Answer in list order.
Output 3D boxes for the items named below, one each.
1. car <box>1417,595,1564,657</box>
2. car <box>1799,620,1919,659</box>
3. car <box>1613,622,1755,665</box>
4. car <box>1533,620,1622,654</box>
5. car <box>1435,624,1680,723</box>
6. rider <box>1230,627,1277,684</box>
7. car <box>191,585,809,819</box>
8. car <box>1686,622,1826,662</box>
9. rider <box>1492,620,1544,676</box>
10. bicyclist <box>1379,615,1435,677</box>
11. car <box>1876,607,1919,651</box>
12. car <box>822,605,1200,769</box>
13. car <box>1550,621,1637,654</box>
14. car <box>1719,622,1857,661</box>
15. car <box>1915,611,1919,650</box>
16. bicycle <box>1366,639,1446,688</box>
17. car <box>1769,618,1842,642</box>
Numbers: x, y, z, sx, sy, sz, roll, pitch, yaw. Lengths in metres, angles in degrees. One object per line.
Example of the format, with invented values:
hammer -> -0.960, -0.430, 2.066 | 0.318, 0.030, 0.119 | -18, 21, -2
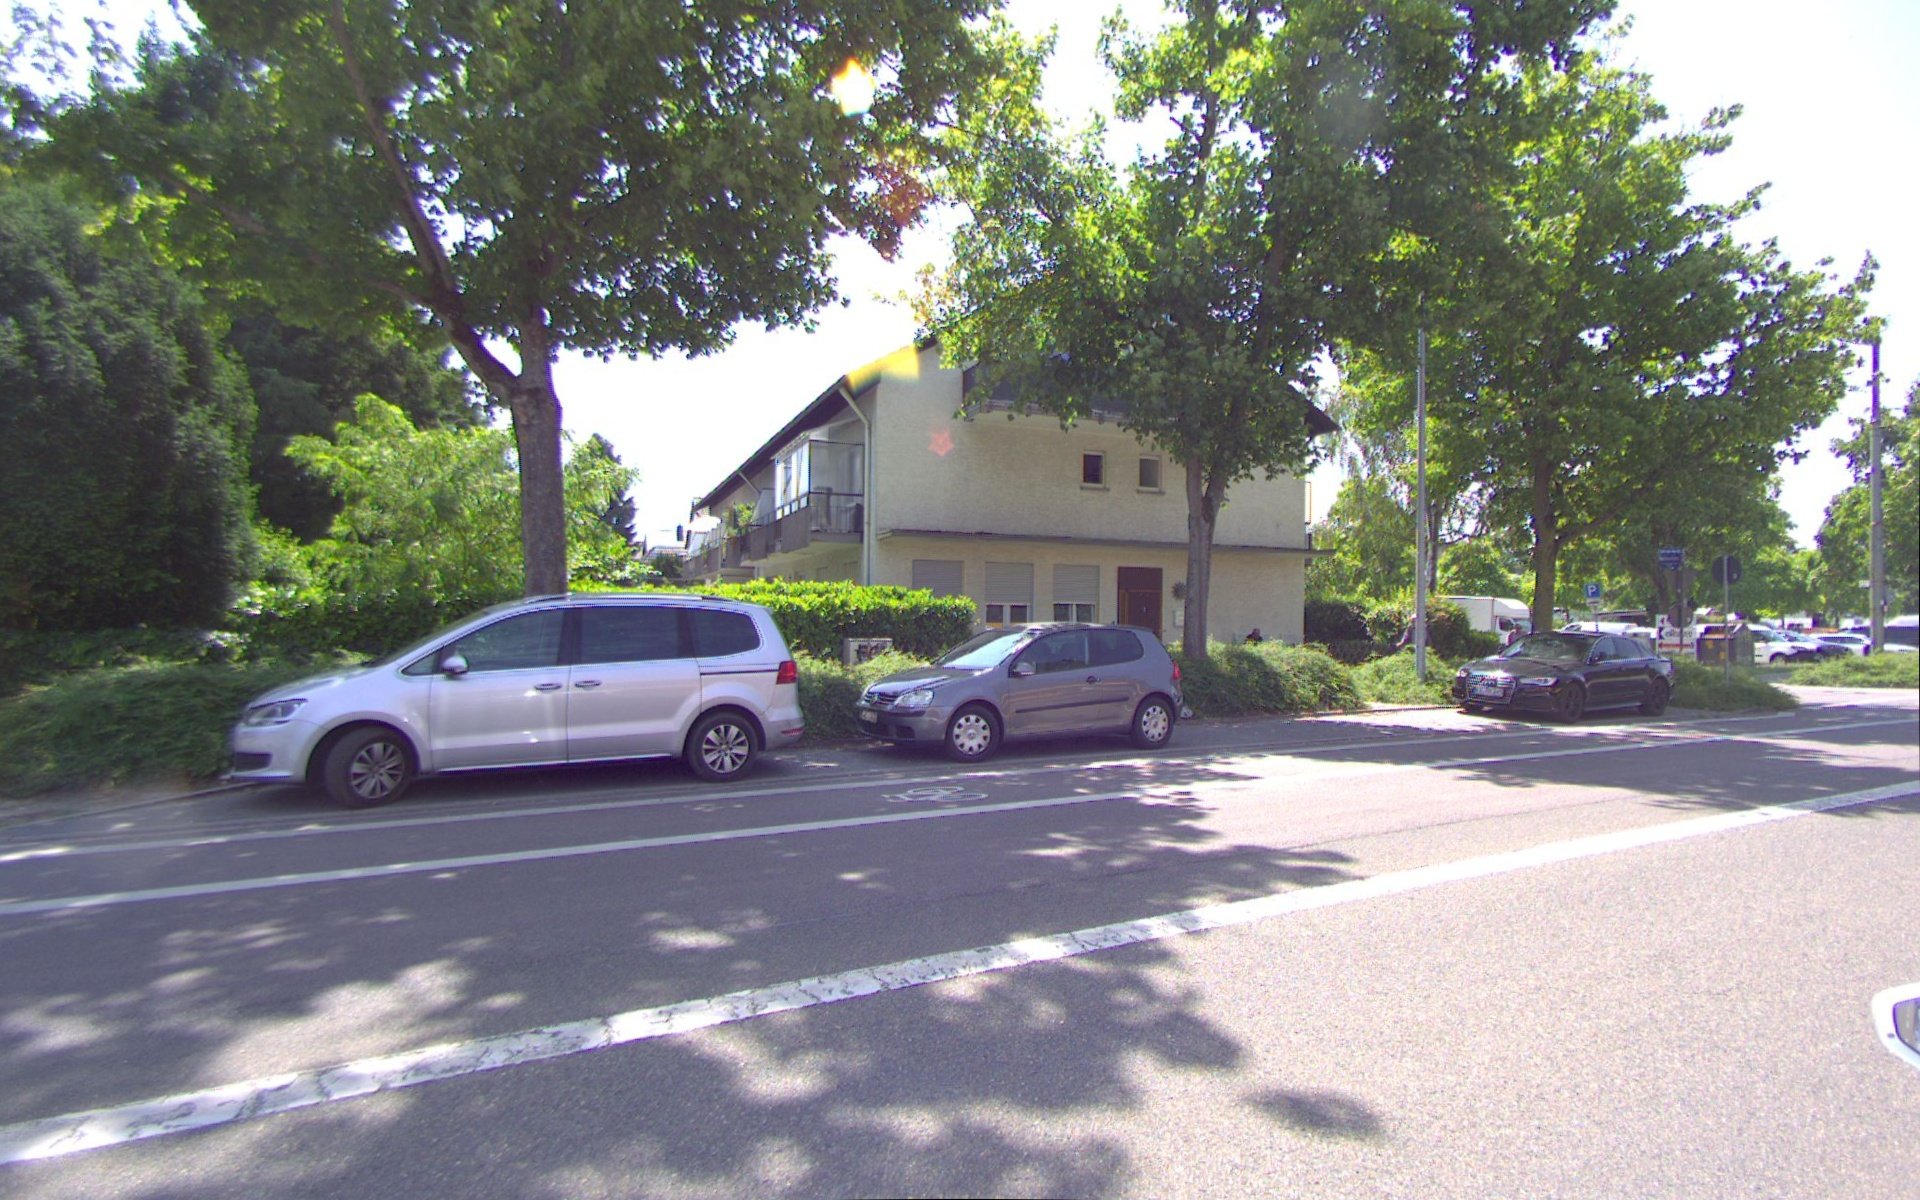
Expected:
car -> 28.766, 1.364, 54.789 | 2.337, 3.005, 6.816 | 2, 1, -30
car -> 43.174, 1.878, 48.280 | 1.975, 1.769, 3.968 | 1, -1, -30
car -> 29.377, 1.727, 40.890 | 1.891, 1.606, 4.321 | 1, -1, -31
car -> 35.555, 2.121, 57.911 | 1.799, 1.675, 3.957 | 2, 1, -37
car -> 10.569, 1.213, 17.698 | 4.397, 1.496, 1.809 | 1, 1, -31
rider -> 7.376, 1.387, 25.259 | 0.800, 1.392, 0.824 | 1, -1, -22
car -> -3.948, 0.759, 9.235 | 4.725, 1.687, 1.863 | 1, 0, -31
car -> 33.882, 1.749, 42.902 | 1.886, 1.606, 4.332 | 1, -1, -24
rider -> 14.112, 1.201, 25.413 | 0.817, 1.378, 0.806 | 1, 0, -27
bicyclist -> 10.352, 1.062, 23.290 | 0.817, 1.392, 0.806 | 2, 1, -27
car -> 52.307, 1.608, 53.195 | 2.349, 2.274, 5.076 | 2, 1, -28
car -> 0.649, 0.908, 11.837 | 4.132, 1.585, 1.809 | 1, 1, -31
car -> 37.436, 2.190, 59.426 | 1.799, 1.675, 3.957 | 2, 1, -37
car -> 36.353, 1.796, 44.216 | 1.886, 1.606, 4.333 | 1, -1, -23
car -> 58.866, 1.890, 57.840 | 2.349, 2.274, 5.076 | 2, 1, -28
bicycle -> 10.356, 1.473, 23.318 | 1.805, 1.043, 0.698 | 2, 1, -27
car -> 66.340, 2.361, 78.860 | 1.795, 1.638, 4.000 | 2, 1, -30
